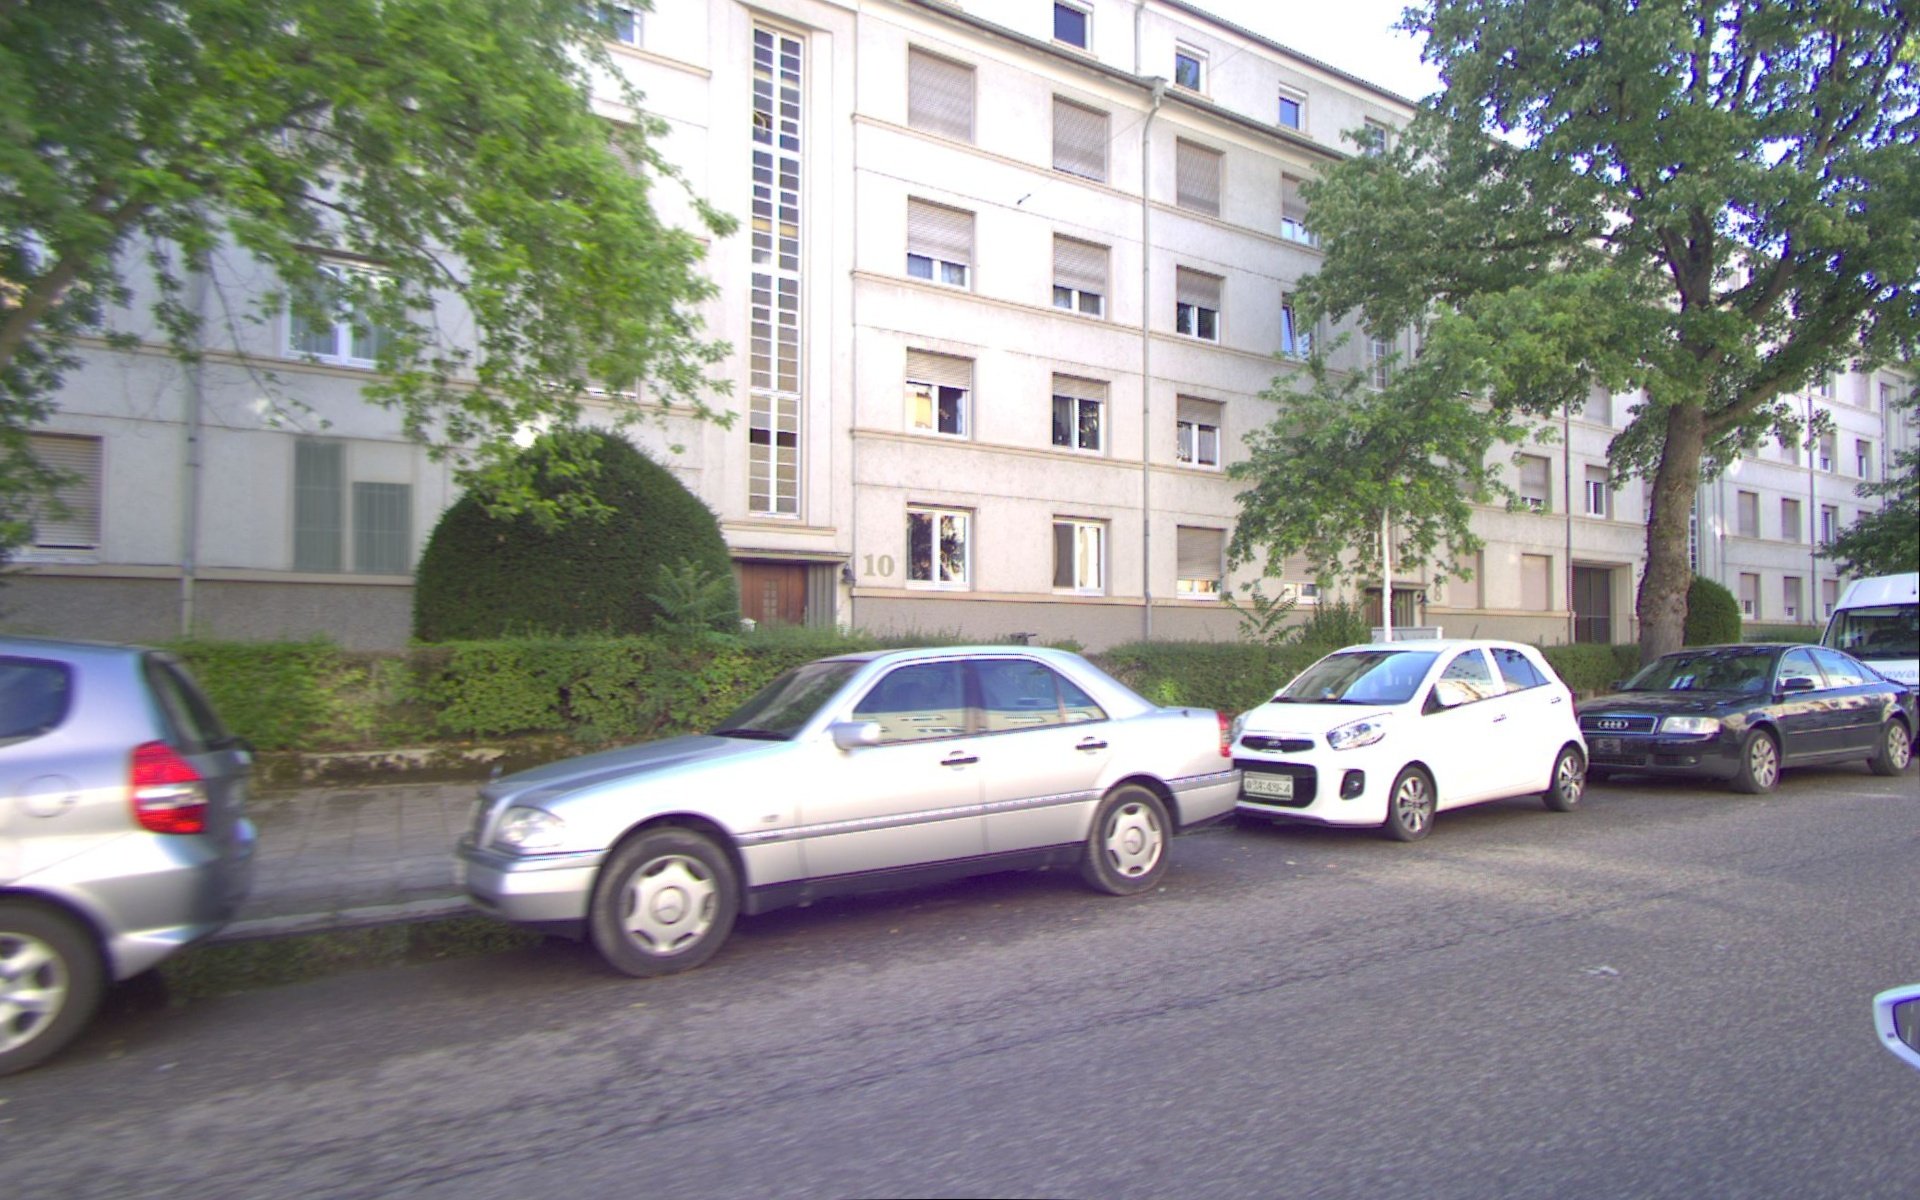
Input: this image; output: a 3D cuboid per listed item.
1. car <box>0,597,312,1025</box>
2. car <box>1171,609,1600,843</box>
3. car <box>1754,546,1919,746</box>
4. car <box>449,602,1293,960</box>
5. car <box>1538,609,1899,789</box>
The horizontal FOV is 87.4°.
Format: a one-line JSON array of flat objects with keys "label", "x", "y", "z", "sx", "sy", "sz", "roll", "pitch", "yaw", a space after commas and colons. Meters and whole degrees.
[{"label": "car", "x": -4.641, "y": 0.646, "z": 3.443, "sx": 3.955, "sy": 1.373, "sz": 1.863, "roll": 3, "pitch": -1, "yaw": -32}, {"label": "car", "x": 3.575, "y": 0.983, "z": 8.438, "sx": 3.222, "sy": 1.594, "sz": 1.700, "roll": 3, "pitch": -5, "yaw": -30}, {"label": "car", "x": 14.291, "y": 0.738, "z": 14.418, "sx": 6.092, "sy": 2.476, "sz": 2.348, "roll": 3, "pitch": -6, "yaw": -30}, {"label": "car", "x": -0.350, "y": 0.804, "z": 5.925, "sx": 4.602, "sy": 1.373, "sz": 1.863, "roll": 3, "pitch": -1, "yaw": -32}, {"label": "car", "x": 8.067, "y": 0.995, "z": 10.643, "sx": 3.774, "sy": 1.594, "sz": 1.700, "roll": 3, "pitch": -4, "yaw": -30}]
